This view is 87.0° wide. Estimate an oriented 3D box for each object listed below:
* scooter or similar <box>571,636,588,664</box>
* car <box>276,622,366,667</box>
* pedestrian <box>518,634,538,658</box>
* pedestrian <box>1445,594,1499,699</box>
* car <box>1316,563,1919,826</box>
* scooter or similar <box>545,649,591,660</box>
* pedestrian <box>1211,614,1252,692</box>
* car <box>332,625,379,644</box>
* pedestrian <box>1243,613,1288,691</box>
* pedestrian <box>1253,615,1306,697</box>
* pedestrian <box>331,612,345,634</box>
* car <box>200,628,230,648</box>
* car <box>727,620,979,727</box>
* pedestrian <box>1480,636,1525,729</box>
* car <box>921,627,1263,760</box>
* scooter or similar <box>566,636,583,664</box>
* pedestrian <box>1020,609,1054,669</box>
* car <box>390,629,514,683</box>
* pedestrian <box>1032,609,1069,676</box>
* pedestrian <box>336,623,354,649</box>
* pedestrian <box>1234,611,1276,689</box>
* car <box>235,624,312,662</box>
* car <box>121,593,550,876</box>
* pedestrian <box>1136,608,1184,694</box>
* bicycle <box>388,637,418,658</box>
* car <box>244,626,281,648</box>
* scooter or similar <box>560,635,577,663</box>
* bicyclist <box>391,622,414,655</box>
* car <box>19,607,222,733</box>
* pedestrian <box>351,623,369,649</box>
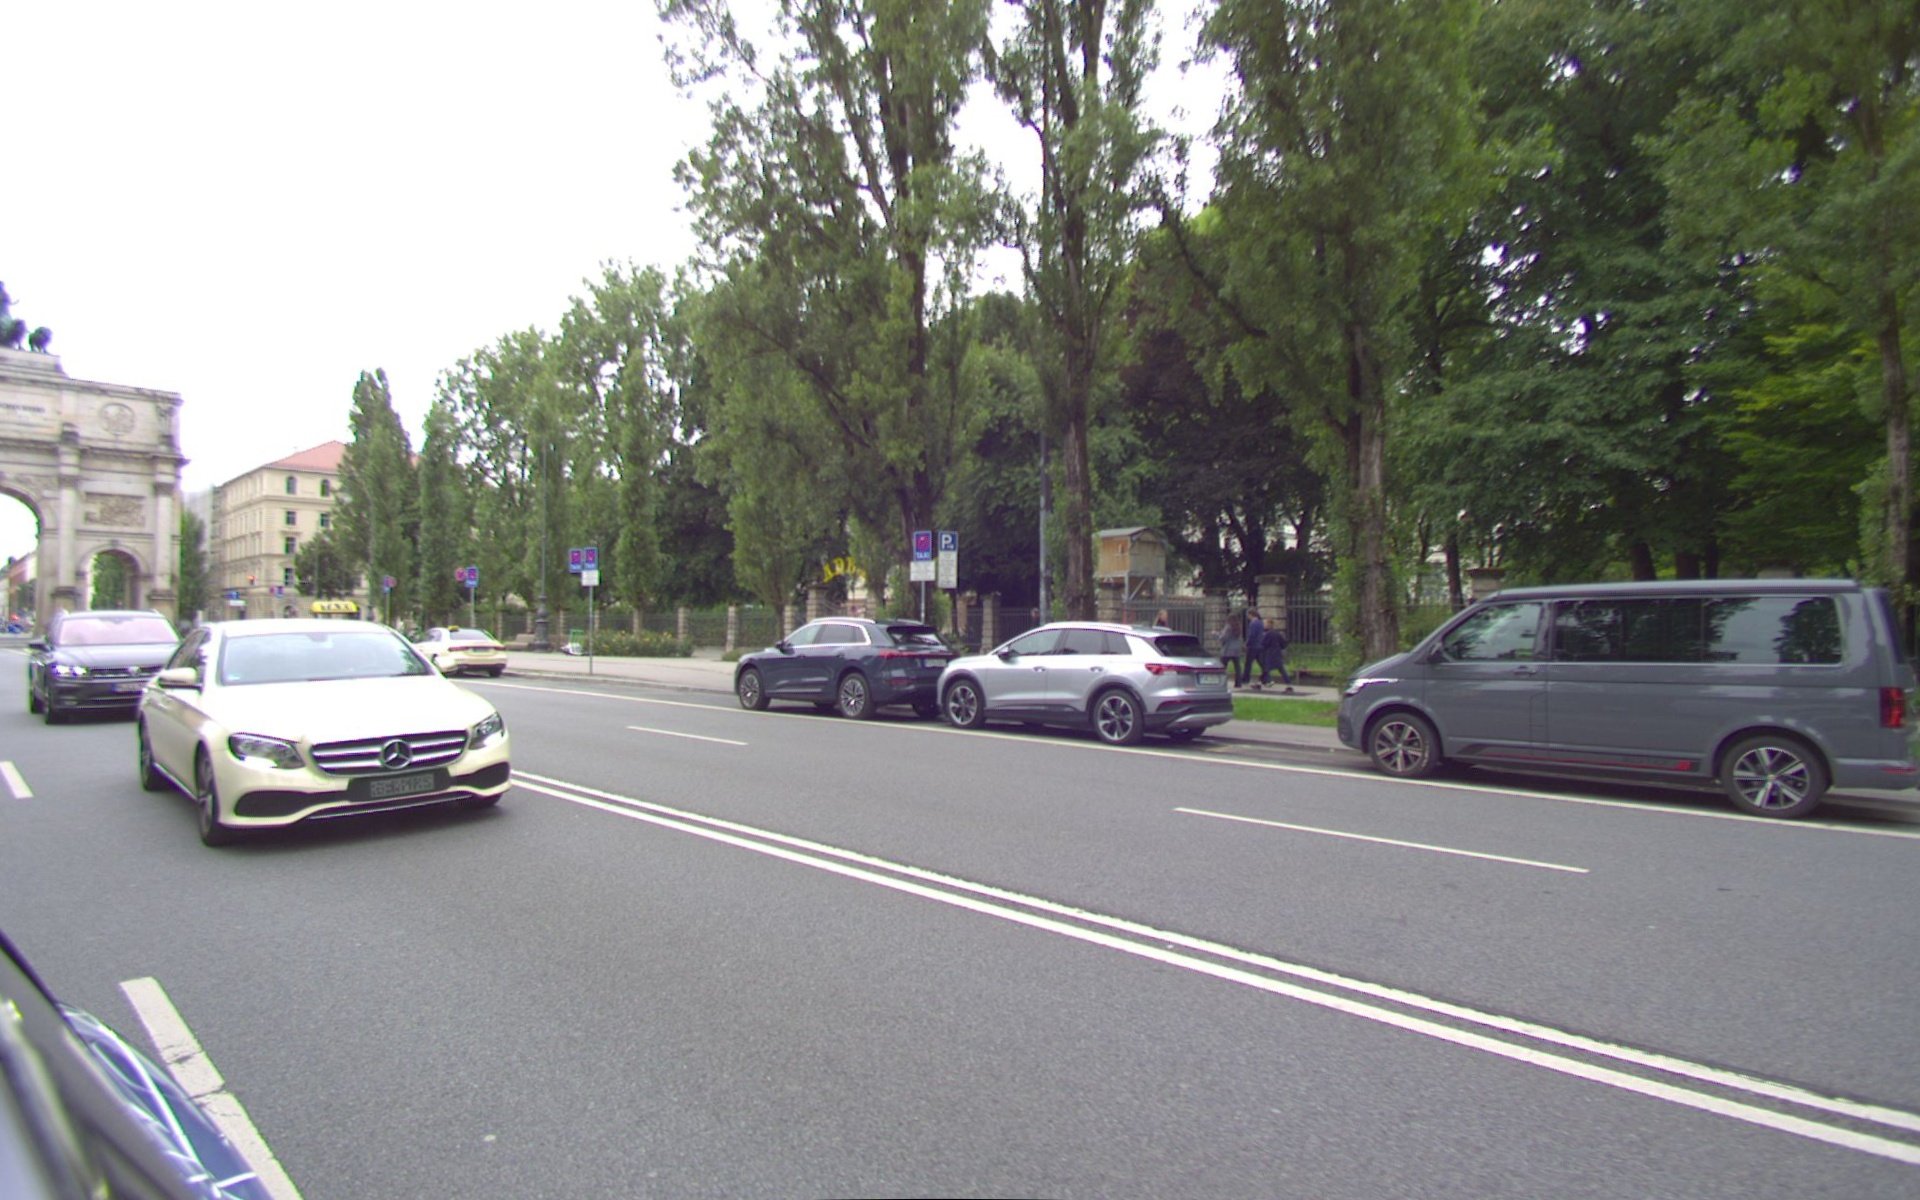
[{"bbox_3d":[-17.009,2.219,45.275,1.123,1.210,0.240,-2,-2,44],"label":"scooter or similar"},{"bbox_3d":[-25.793,1.761,40.776,4.966,1.637,1.916,-1,-2,44],"label":"car"},{"bbox_3d":[-23.969,2.537,56.175,0.833,1.347,0.574,-1,-2,17],"label":"pedestrian"},{"bbox_3d":[9.353,0.840,18.485,0.723,1.874,0.503,-2,-2,44],"label":"pedestrian"},{"bbox_3d":[6.277,0.810,9.862,4.938,1.971,1.971,-2,-4,44],"label":"car"},{"bbox_3d":[-18.932,2.619,48.937,1.315,0.522,2.234,0,-2,3],"label":"scooter or similar"},{"bbox_3d":[5.964,1.153,22.247,0.673,1.682,0.543,-2,-2,44],"label":"pedestrian"},{"bbox_3d":[-65.228,3.720,109.271,2.000,2.029,3.943,-2,-3,43],"label":"car"},{"bbox_3d":[6.953,1.170,23.013,0.733,1.735,0.659,-2,-3,45],"label":"pedestrian"},{"bbox_3d":[6.601,1.139,20.902,0.791,1.630,0.701,-2,-2,44],"label":"pedestrian"},{"bbox_3d":[-60.003,2.226,97.655,0.747,2.029,0.792,0,-2,9],"label":"pedestrian"},{"bbox_3d":[-67.158,3.420,91.231,1.759,1.684,4.005,2,-3,-42],"label":"car"},{"bbox_3d":[-1.965,1.213,17.561,4.614,1.608,1.762,-2,-4,44],"label":"car"},{"bbox_3d":[10.061,1.505,18.769,0.578,1.688,0.549,2,-3,-44],"label":"pedestrian"},{"bbox_3d":[1.729,1.205,14.454,4.655,1.596,1.869,-2,-3,44],"label":"car"},{"bbox_3d":[-17.192,2.217,45.089,1.123,1.210,0.240,-2,-2,44],"label":"scooter or similar"},{"bbox_3d":[2.091,1.059,27.496,0.611,1.608,0.705,1,-2,-45],"label":"pedestrian"},{"bbox_3d":[-15.469,1.662,30.711,4.792,1.509,1.909,-3,-4,45],"label":"car"},{"bbox_3d":[2.307,1.064,25.705,0.705,1.672,0.611,-2,-2,45],"label":"pedestrian"},{"bbox_3d":[-40.202,2.346,66.108,0.834,1.691,0.968,2,-3,-40],"label":"pedestrian"},{"bbox_3d":[6.567,1.101,22.520,0.723,1.720,0.503,-2,-2,44],"label":"pedestrian"},{"bbox_3d":[-30.931,1.904,45.542,4.859,1.571,1.798,-1,-4,44],"label":"car"},{"bbox_3d":[-5.189,0.787,8.068,1.893,1.587,4.692,-1,0,-45],"label":"car"},{"bbox_3d":[4.141,1.038,20.940,0.787,1.733,0.576,-2,-2,42],"label":"pedestrian"},{"bbox_3d":[-25.586,2.169,46.463,1.735,0.946,0.700,-2,-2,43],"label":"bicycle"},{"bbox_3d":[-64.691,3.405,93.866,1.976,1.869,4.994,4,-3,-44],"label":"car"},{"bbox_3d":[-17.378,2.161,44.898,1.141,1.251,0.255,-2,-3,45],"label":"scooter or similar"},{"bbox_3d":[-25.634,1.752,46.532,0.861,1.510,0.686,-2,-3,42],"label":"bicyclist"},{"bbox_3d":[-13.032,0.959,15.600,4.412,1.636,1.927,-1,0,44],"label":"car"},{"bbox_3d":[-39.384,2.347,66.456,0.834,1.691,0.968,2,-3,-40],"label":"pedestrian"}]
